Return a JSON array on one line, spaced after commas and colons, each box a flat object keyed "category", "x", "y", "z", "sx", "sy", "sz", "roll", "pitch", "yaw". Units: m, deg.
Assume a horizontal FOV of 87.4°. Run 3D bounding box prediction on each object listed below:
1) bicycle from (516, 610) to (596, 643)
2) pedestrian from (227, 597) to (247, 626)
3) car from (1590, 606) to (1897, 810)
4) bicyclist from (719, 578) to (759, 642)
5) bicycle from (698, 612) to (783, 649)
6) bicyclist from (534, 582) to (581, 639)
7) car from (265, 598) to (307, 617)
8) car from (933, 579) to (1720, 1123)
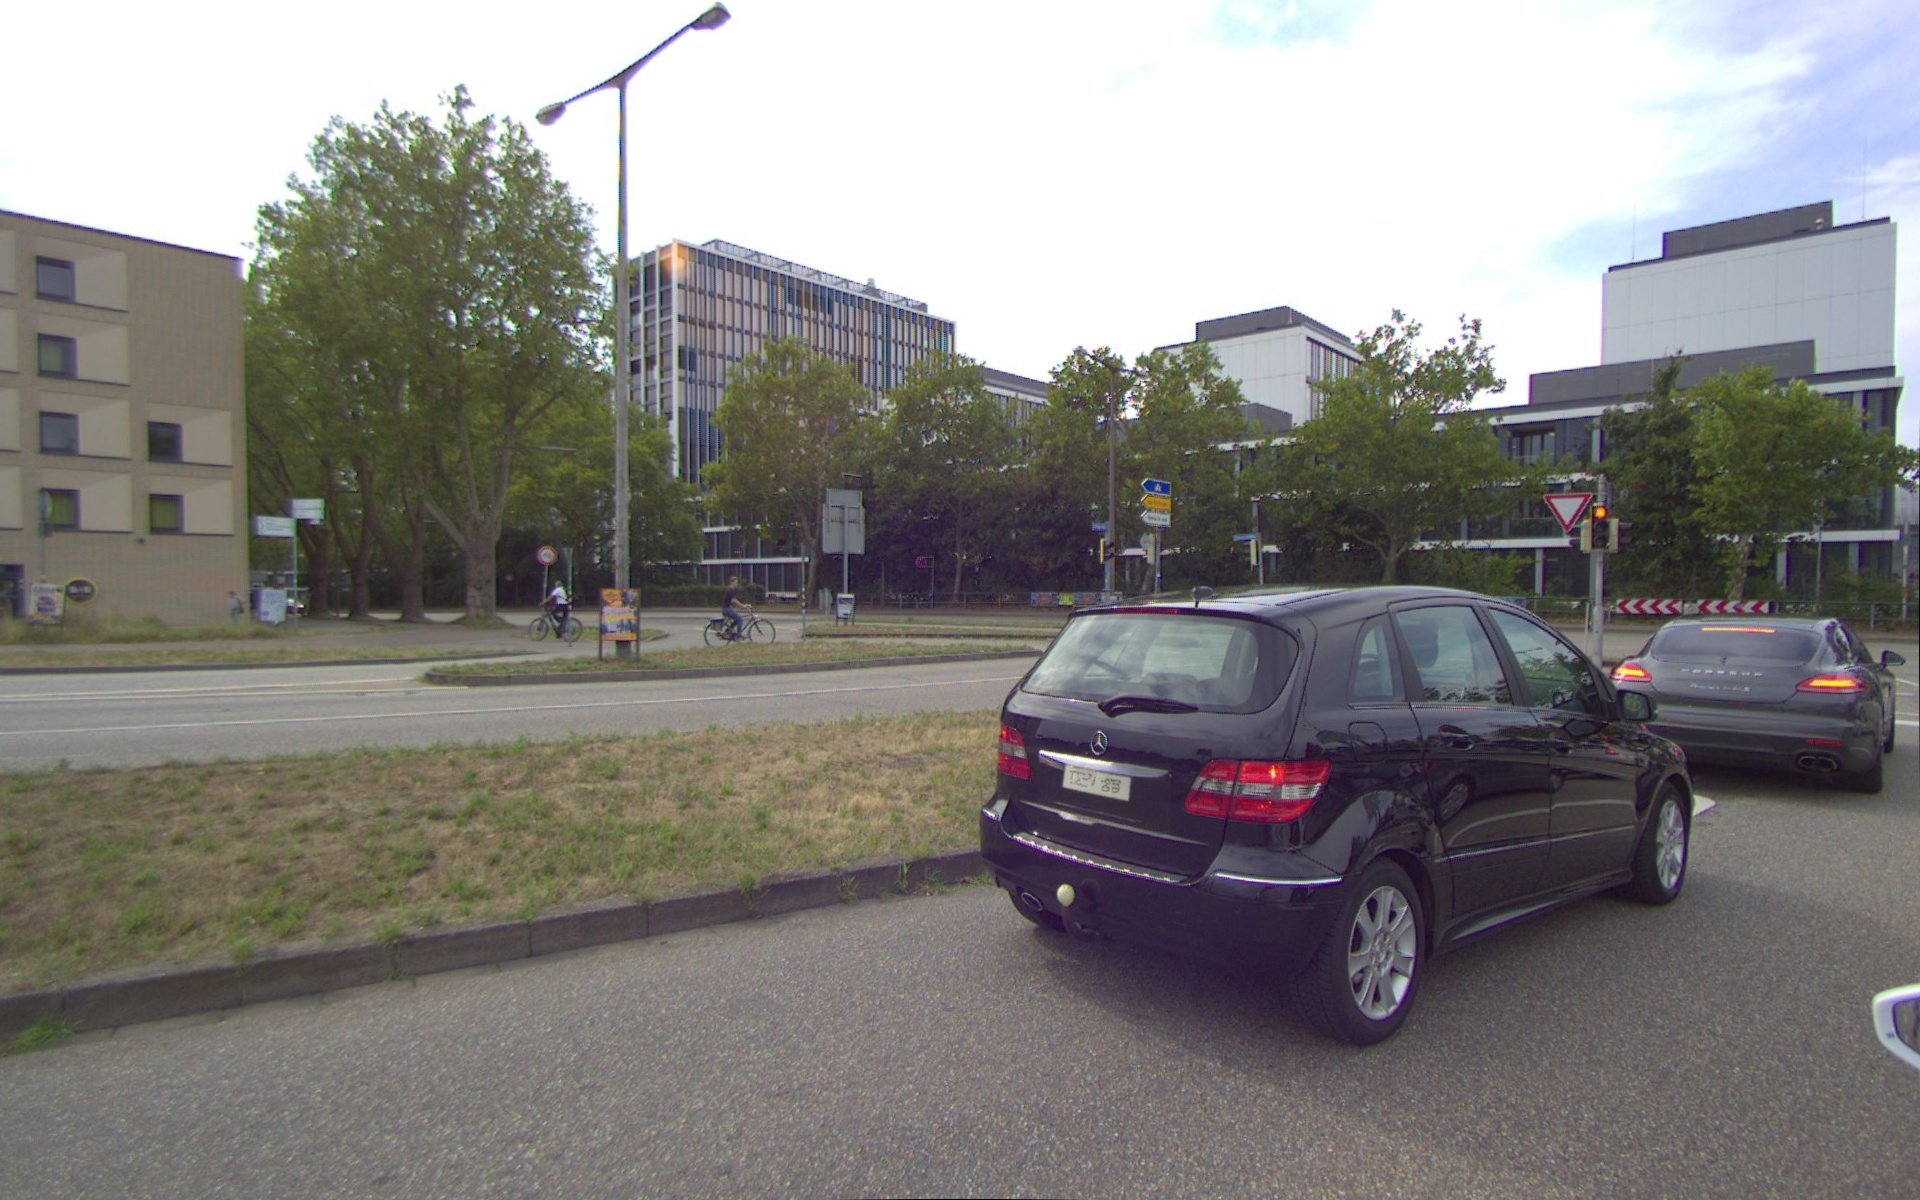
[{"category": "bicycle", "x": -12.562, "y": 0.810, "z": 31.254, "sx": 2.190, "sy": 0.965, "sz": 0.812, "roll": 1, "pitch": 0, "yaw": 11}, {"category": "pedestrian", "x": -28.766, "y": 0.466, "z": 39.965, "sx": 0.493, "sy": 1.140, "sz": 0.462, "roll": 1, "pitch": 1, "yaw": 29}, {"category": "car", "x": 7.724, "y": 0.810, "z": 9.694, "sx": 1.800, "sy": 1.433, "sz": 4.746, "roll": 2, "pitch": 1, "yaw": 44}, {"category": "bicyclist", "x": -5.756, "y": 0.259, "z": 26.161, "sx": 0.907, "sy": 1.636, "sz": 0.738, "roll": 1, "pitch": 0, "yaw": -21}, {"category": "bicycle", "x": -5.720, "y": 0.783, "z": 26.175, "sx": 2.087, "sy": 0.921, "sz": 0.738, "roll": 1, "pitch": 0, "yaw": -21}, {"category": "bicyclist", "x": -12.514, "y": 0.318, "z": 31.251, "sx": 1.093, "sy": 1.719, "sz": 0.813, "roll": 1, "pitch": 0, "yaw": 9}, {"category": "car", "x": -58.023, "y": 0.647, "z": 86.466, "sx": 3.935, "sy": 1.610, "sz": 1.795, "roll": 1, "pitch": 0, "yaw": 36}, {"category": "car", "x": 1.986, "y": 0.715, "z": 4.884, "sx": 4.000, "sy": 1.596, "sz": 1.743, "roll": -1, "pitch": 2, "yaw": -38}]
